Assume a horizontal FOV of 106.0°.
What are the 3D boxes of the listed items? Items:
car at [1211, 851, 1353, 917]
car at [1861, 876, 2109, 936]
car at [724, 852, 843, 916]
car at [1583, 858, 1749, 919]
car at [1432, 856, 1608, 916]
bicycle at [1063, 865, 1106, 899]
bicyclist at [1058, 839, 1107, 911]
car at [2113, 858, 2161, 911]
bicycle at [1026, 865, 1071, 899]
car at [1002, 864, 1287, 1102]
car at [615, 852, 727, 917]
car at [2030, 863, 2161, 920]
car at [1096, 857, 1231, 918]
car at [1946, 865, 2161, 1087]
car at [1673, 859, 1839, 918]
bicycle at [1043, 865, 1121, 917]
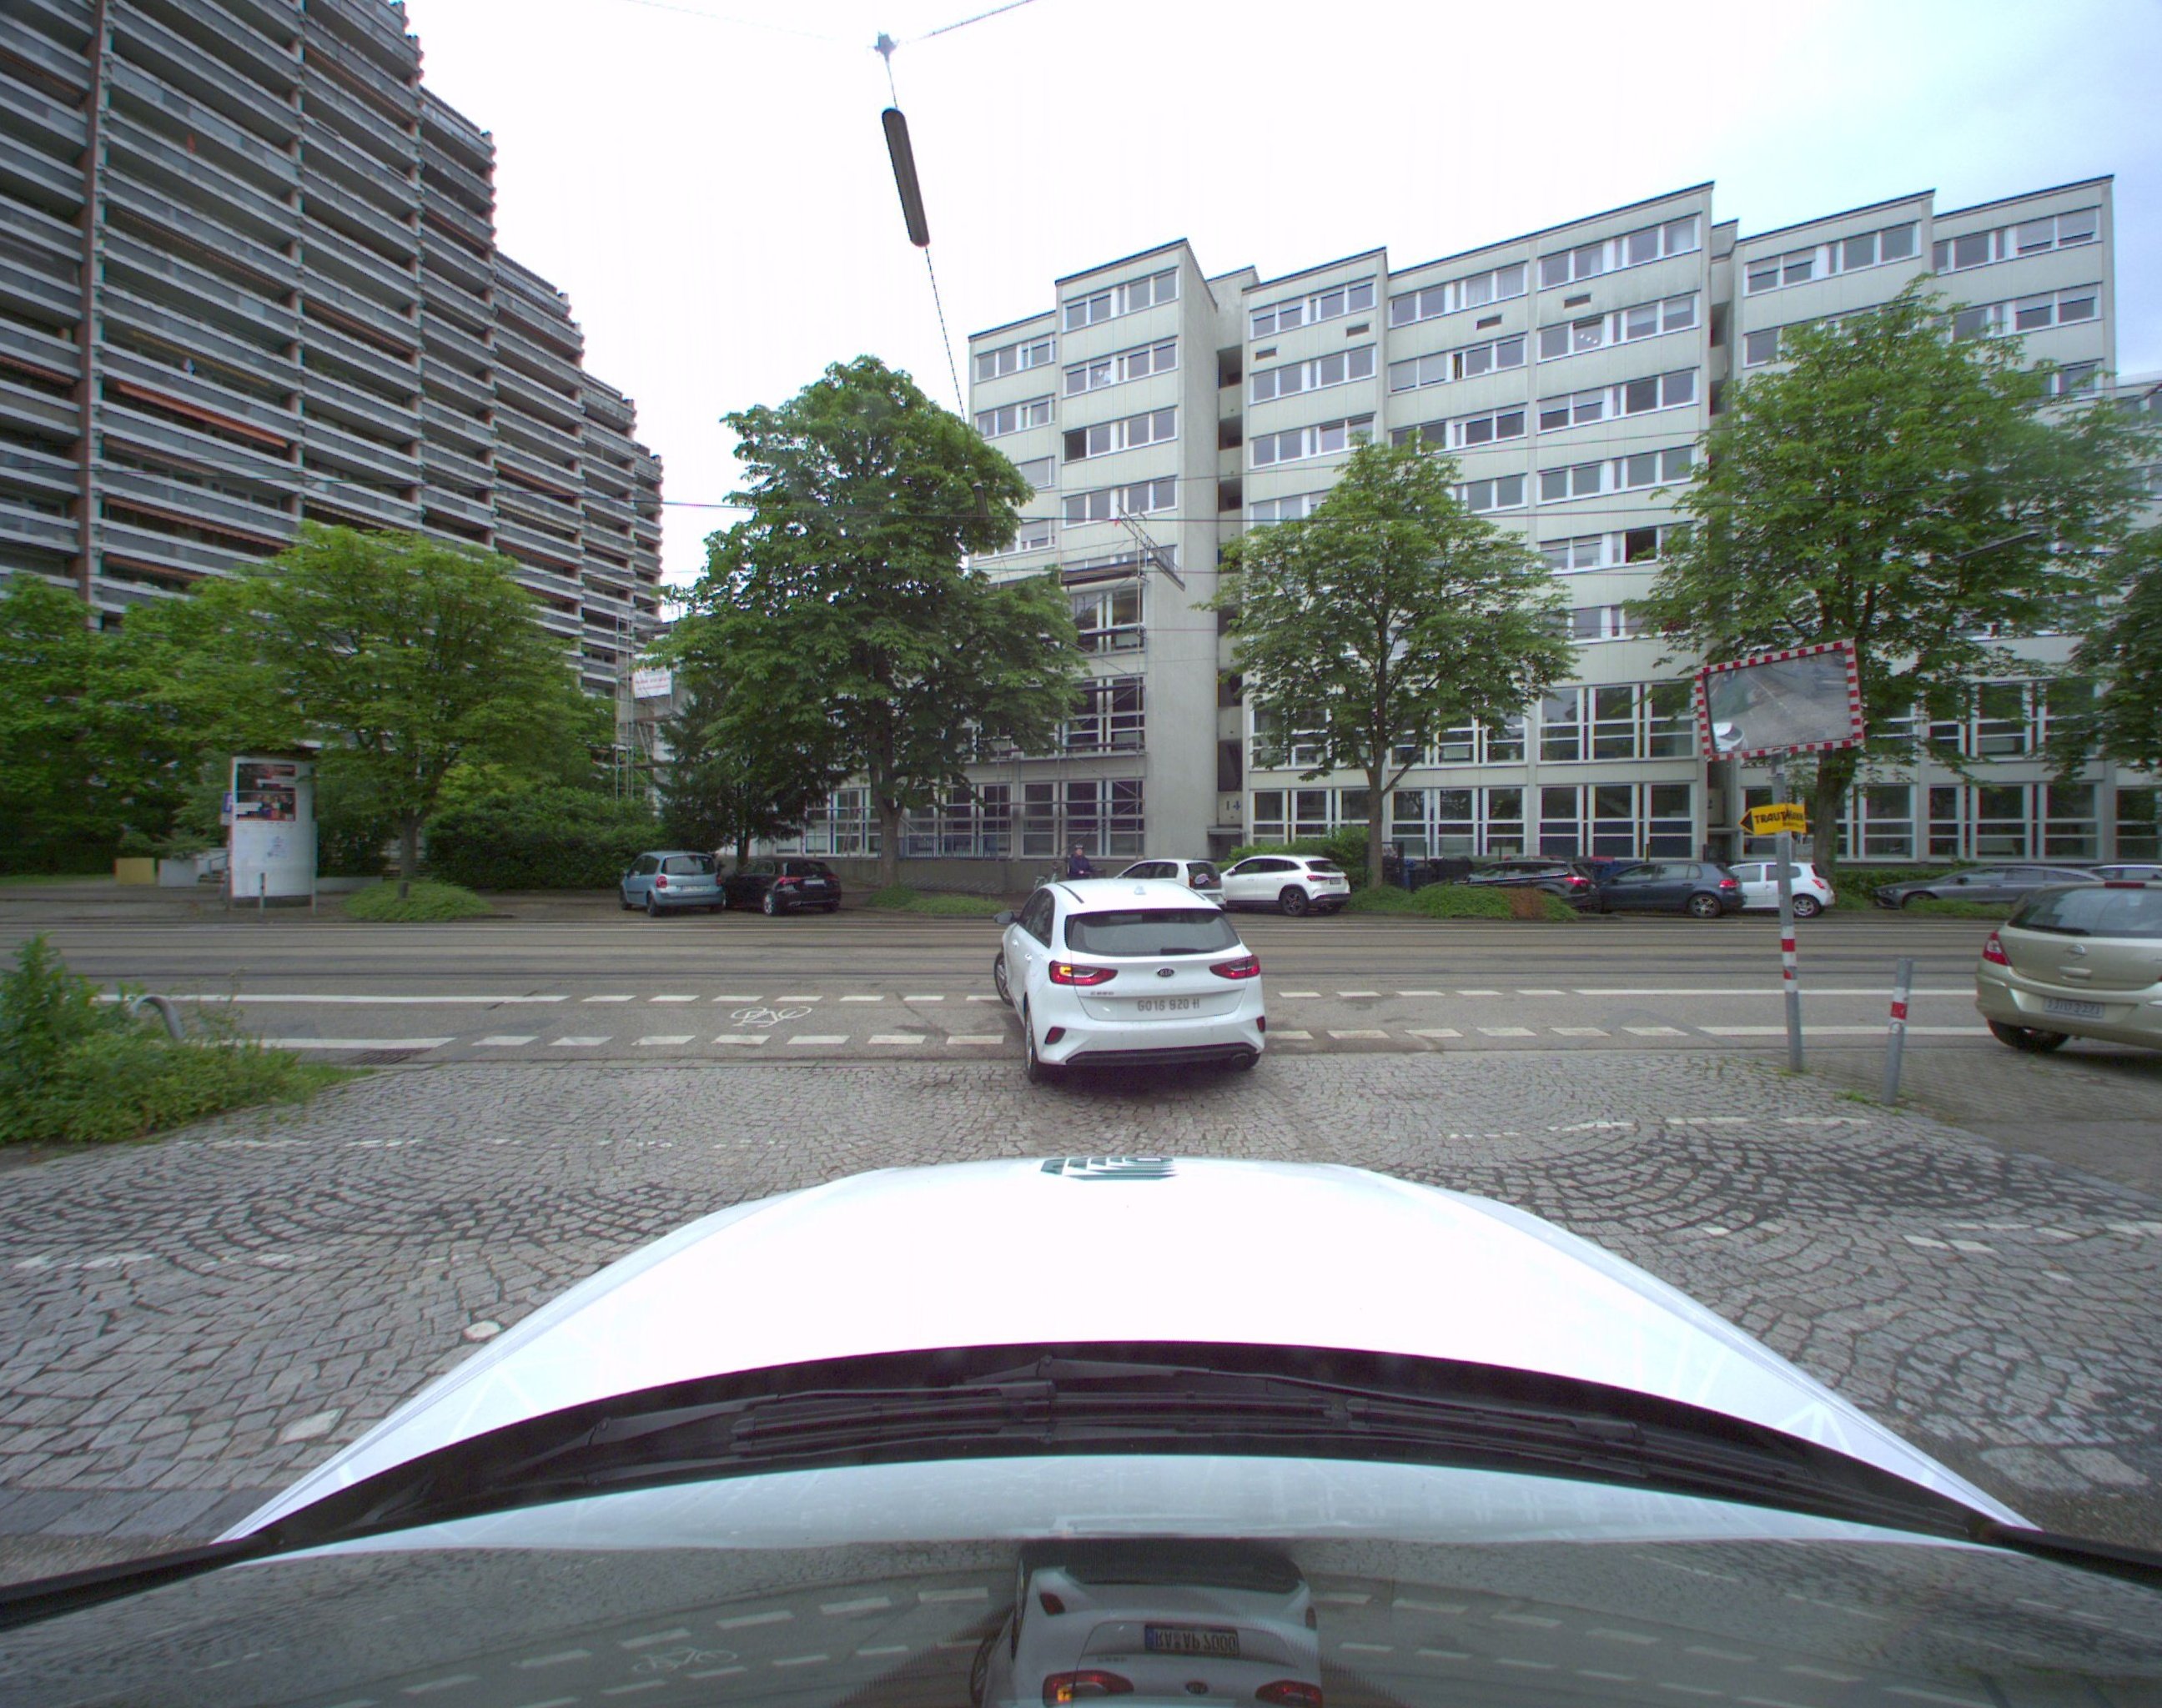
[{"bbox_3d":[5.306,0.756,21.779,1.565,1.618,3.367,0,-1,-42],"label":"car"},{"bbox_3d":[24.836,1.392,22.651,4.441,1.474,1.425,-1,-3,42],"label":"car"},{"bbox_3d":[-7.692,0.728,20.934,3.295,1.511,1.628,-1,-1,45],"label":"car"},{"bbox_3d":[15.420,0.872,21.561,1.425,1.474,3.348,0,-1,-45],"label":"car"},{"bbox_3d":[11.846,0.811,22.125,3.904,1.474,1.684,-1,-1,42],"label":"car"},{"bbox_3d":[0.140,0.907,27.264,0.638,1.075,2.324,0,0,22],"label":"bicycle"},{"bbox_3d":[0.034,0.491,19.879,0.839,1.698,0.886,0,0,-43],"label":"bicyclist"},{"bbox_3d":[31.369,0.851,22.528,1.425,1.473,3.348,0,0,-45],"label":"car"},{"bbox_3d":[-1.086,0.923,27.784,0.638,1.075,2.324,0,0,22],"label":"bicycle"},{"bbox_3d":[0.263,0.877,7.465,1.774,1.432,3.968,-1,1,-8],"label":"car"},{"bbox_3d":[-10.584,0.726,20.929,3.295,1.537,1.628,0,0,45],"label":"car"},{"bbox_3d":[28.521,1.007,22.204,1.425,1.473,3.348,0,0,-45],"label":"car"},{"bbox_3d":[2.108,0.828,21.433,1.565,1.473,3.367,0,-1,-42],"label":"car"},{"bbox_3d":[9.211,0.851,6.182,3.570,1.500,1.665,0,0,0],"label":"car"},{"bbox_3d":[18.384,0.897,22.260,1.425,1.474,3.348,0,-1,-45],"label":"car"},{"bbox_3d":[0.015,0.864,19.895,0.826,1.174,1.892,0,0,-44],"label":"bicycle"}]
